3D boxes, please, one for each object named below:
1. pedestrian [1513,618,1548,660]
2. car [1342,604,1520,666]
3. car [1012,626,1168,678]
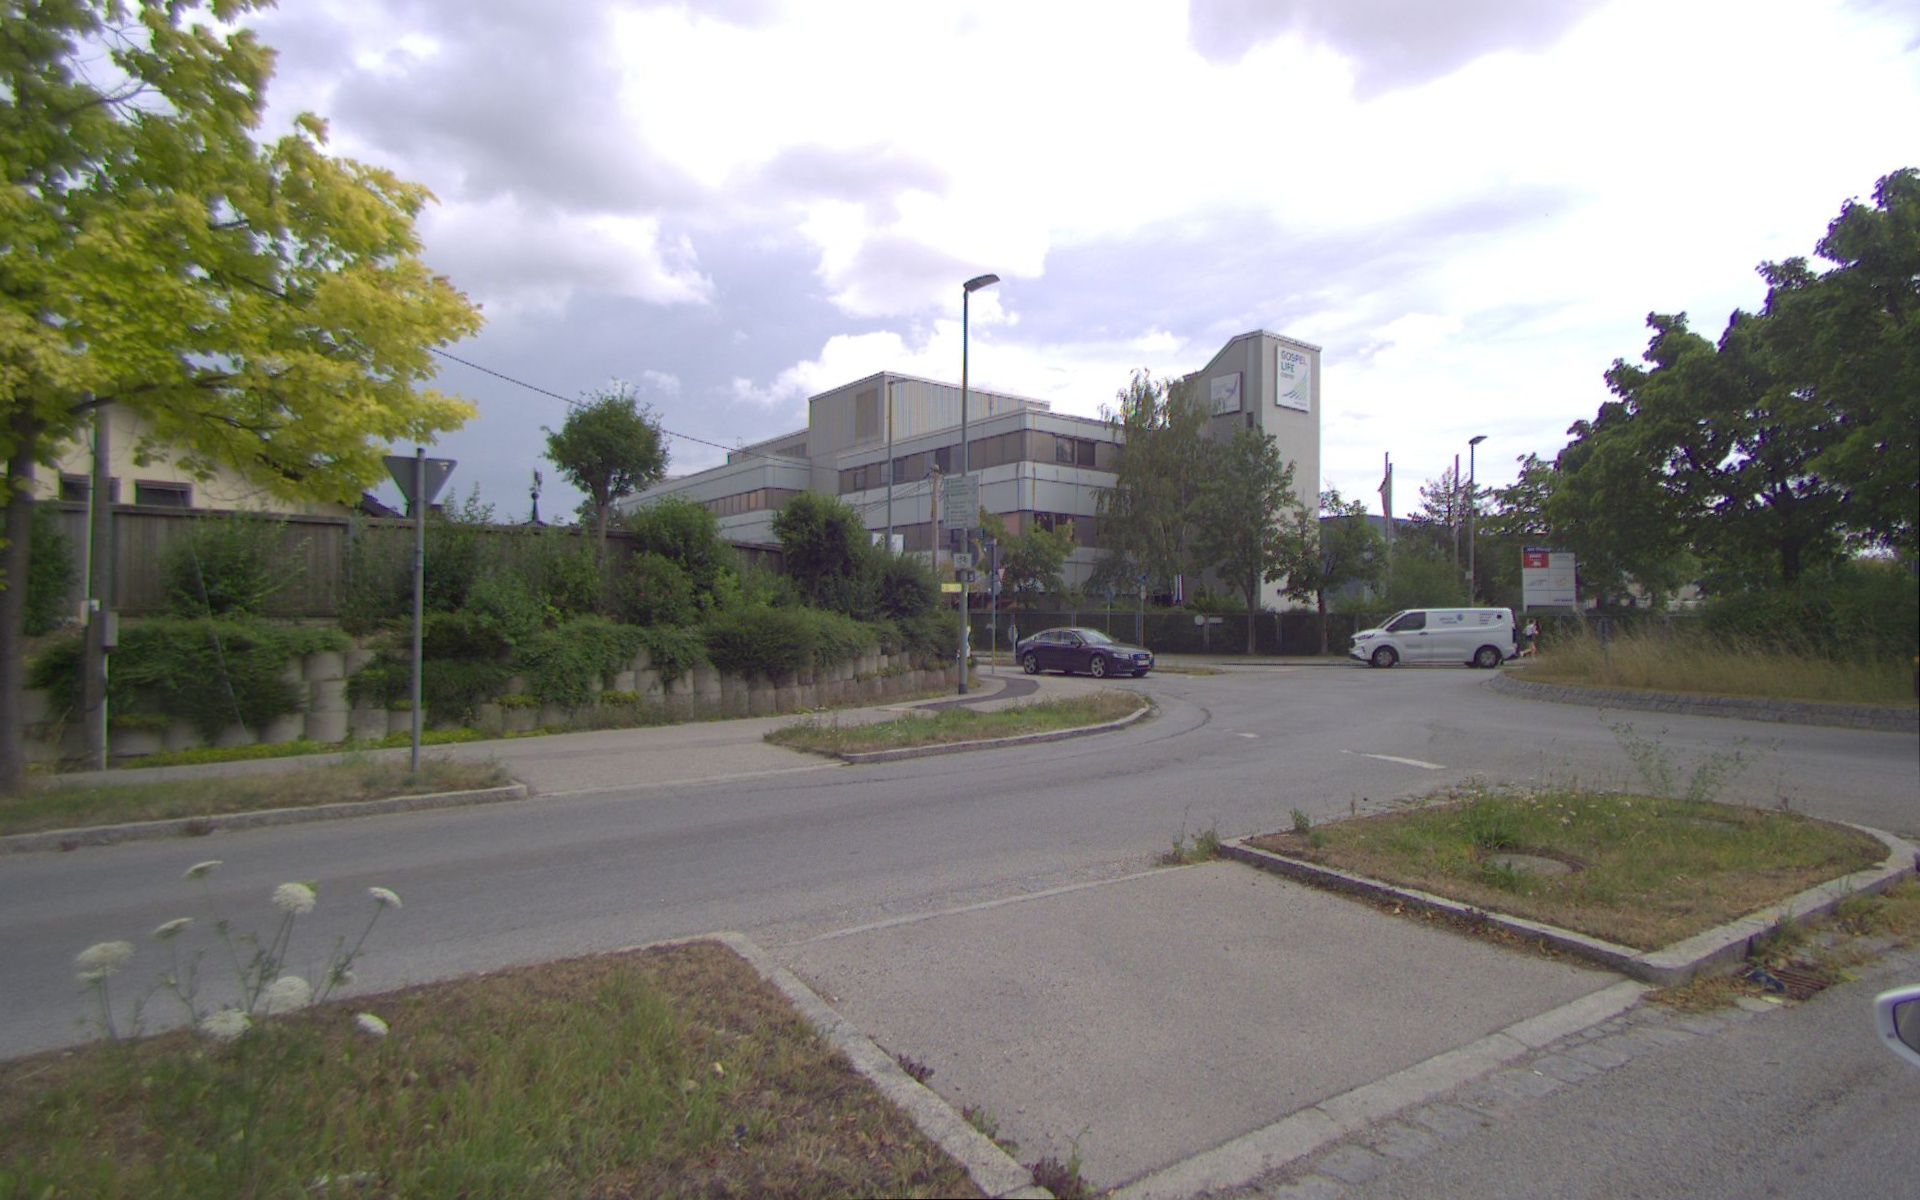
[{"bbox_3d":[20.748,1.411,36.554,0.933,1.488,0.631,0,-1,-15],"label":"pedestrian"},{"bbox_3d":[15.430,1.163,33.172,4.969,1.930,2.001,-1,-1,13],"label":"car"},{"bbox_3d":[3.694,1.465,29.232,1.920,1.365,4.420,0,-1,-39],"label":"car"}]
